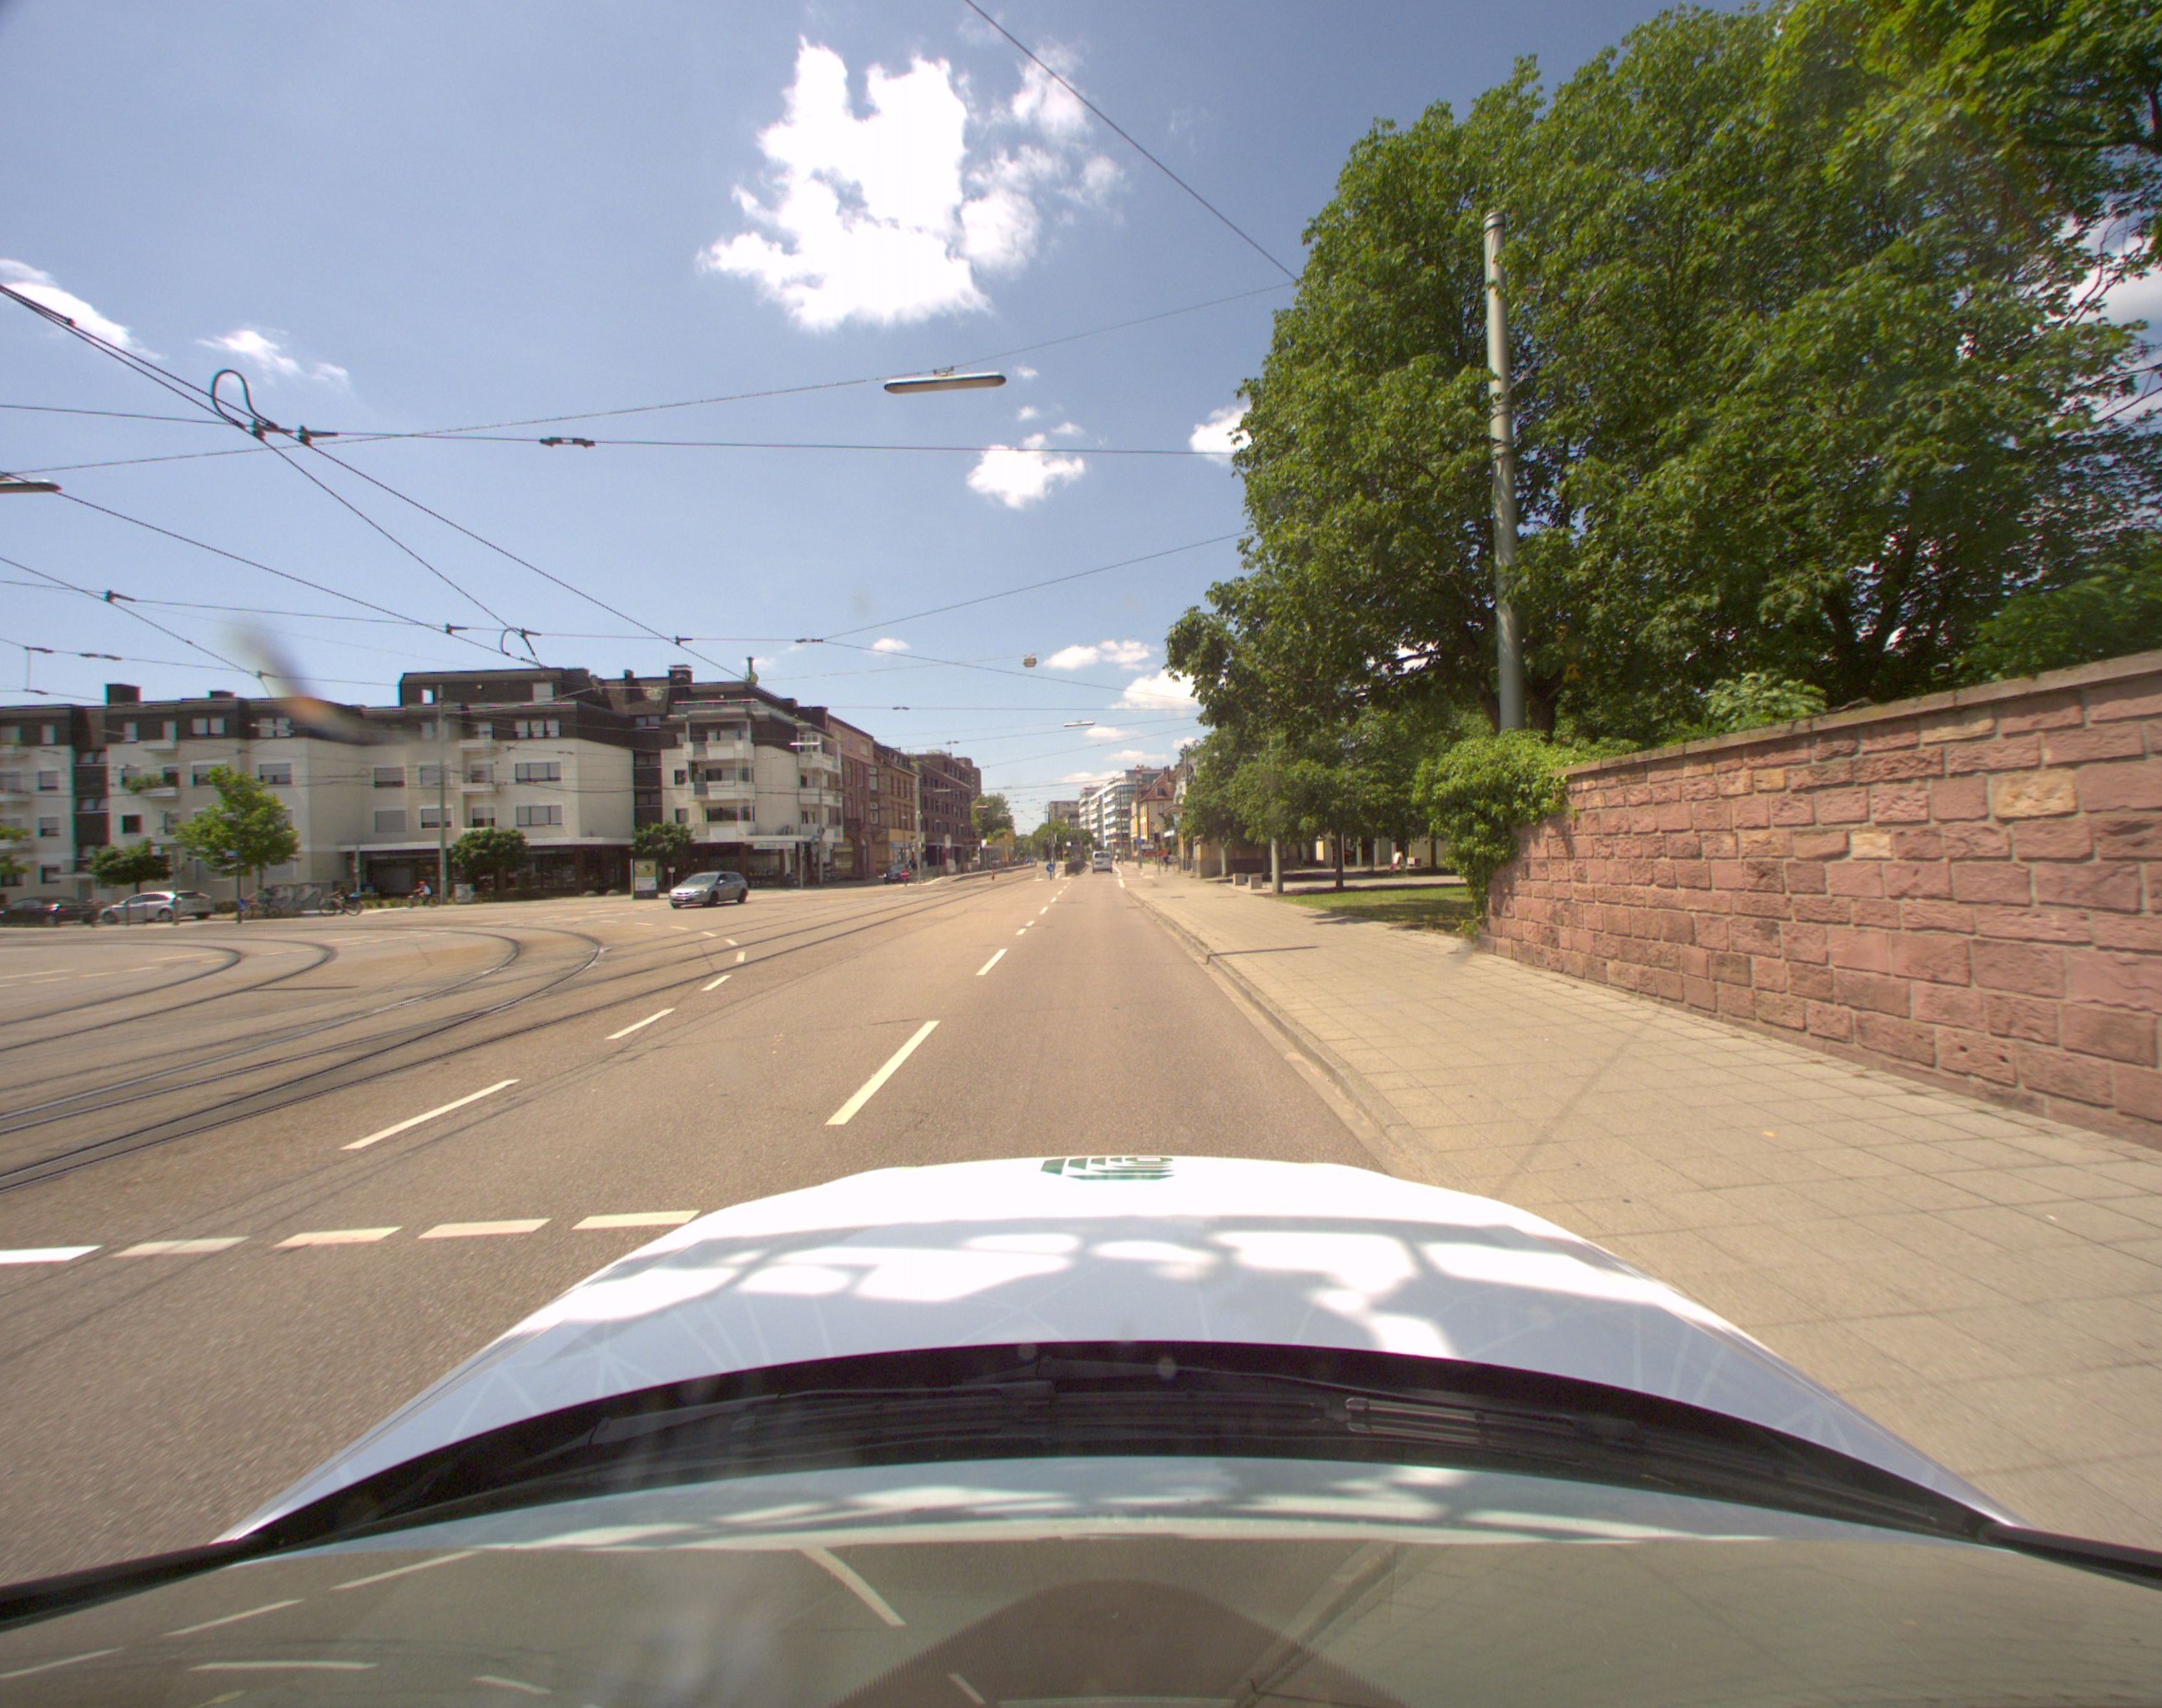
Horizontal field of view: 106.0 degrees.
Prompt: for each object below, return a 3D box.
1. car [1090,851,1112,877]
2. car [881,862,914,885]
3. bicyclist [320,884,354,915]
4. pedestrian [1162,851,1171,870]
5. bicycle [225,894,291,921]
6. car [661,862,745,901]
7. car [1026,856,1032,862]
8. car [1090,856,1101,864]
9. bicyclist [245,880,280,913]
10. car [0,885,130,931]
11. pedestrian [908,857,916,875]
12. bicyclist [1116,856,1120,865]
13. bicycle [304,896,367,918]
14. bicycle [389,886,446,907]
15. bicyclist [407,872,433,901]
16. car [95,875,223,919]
[{"bbox_3d":[1.718,0.817,69.833,1.746,2.013,4.001,-3,1,1],"label":"car"},{"bbox_3d":[-14.586,1.507,64.904,1.719,1.683,4.277,-2,0,-2],"label":"car"},{"bbox_3d":[-36.048,2.182,39.461,0.963,1.422,0.627,-3,-1,-16],"label":"bicyclist"},{"bbox_3d":[7.245,0.564,68.962,0.574,1.556,0.787,-4,-1,4],"label":"pedestrian"},{"bbox_3d":[-39.171,2.547,38.772,2.251,1.101,0.515,-3,-1,-12],"label":"bicycle"},{"bbox_3d":[-16.209,1.136,35.187,1.992,1.471,4.390,-2,0,-8],"label":"car"},{"bbox_3d":[-15.903,1.527,248.698,1.697,1.616,3.747,-2,0,-8],"label":"car"},{"bbox_3d":[3.279,1.389,185.826,1.859,1.687,4.993,-2,0,-4],"label":"car"},{"bbox_3d":[-39.019,2.009,38.818,0.851,1.487,0.734,-3,-1,-10],"label":"bicyclist"},{"bbox_3d":[-51.563,2.721,41.377,3.975,2.014,1.999,-4,-1,-1],"label":"car"},{"bbox_3d":[-19.481,1.362,93.819,0.616,2.013,0.810,-2,0,-1],"label":"pedestrian"},{"bbox_3d":[5.671,1.029,125.553,0.590,1.397,0.841,-1,0,-3],"label":"bicyclist"},{"bbox_3d":[-36.084,2.574,39.449,2.255,0.881,0.416,-3,-1,-17],"label":"bicycle"},{"bbox_3d":[-35.552,2.284,43.660,2.258,0.934,0.667,-3,-1,-20],"label":"bicycle"},{"bbox_3d":[-35.477,1.740,43.708,0.849,1.468,0.651,-3,-1,-21],"label":"bicyclist"},{"bbox_3d":[-45.517,2.110,40.277,3.975,1.912,1.999,-2,0,-1],"label":"car"}]
